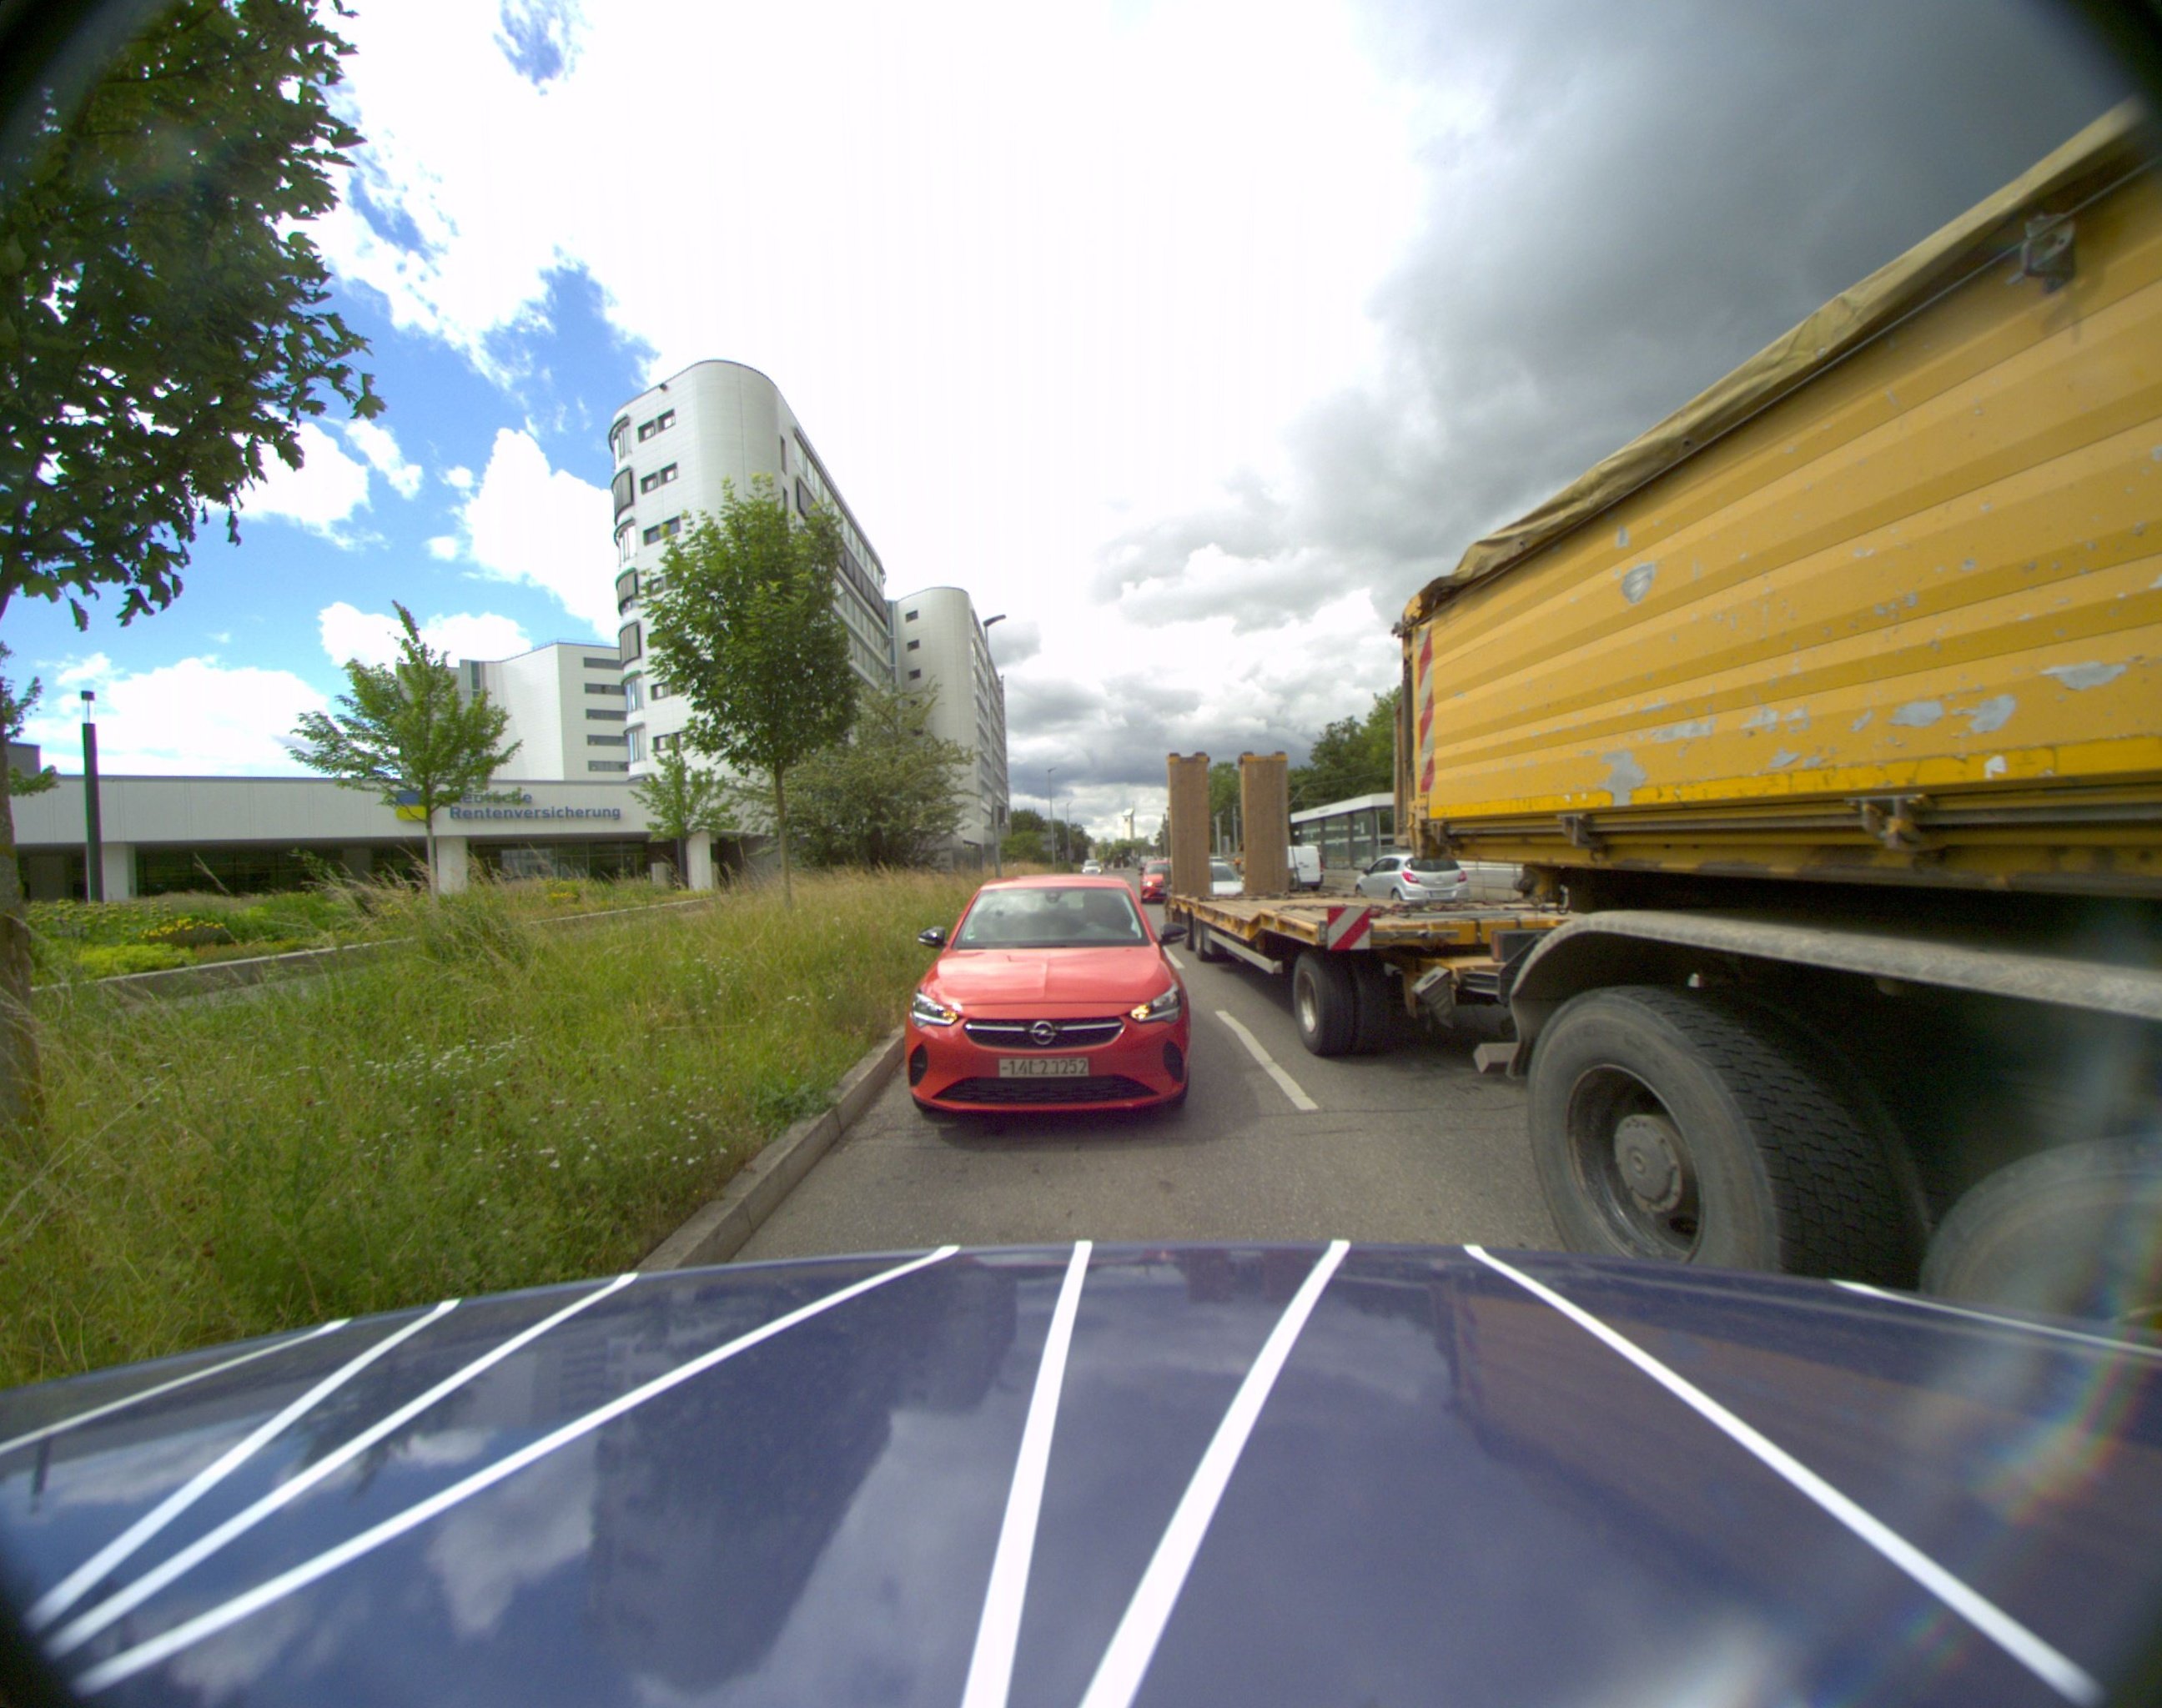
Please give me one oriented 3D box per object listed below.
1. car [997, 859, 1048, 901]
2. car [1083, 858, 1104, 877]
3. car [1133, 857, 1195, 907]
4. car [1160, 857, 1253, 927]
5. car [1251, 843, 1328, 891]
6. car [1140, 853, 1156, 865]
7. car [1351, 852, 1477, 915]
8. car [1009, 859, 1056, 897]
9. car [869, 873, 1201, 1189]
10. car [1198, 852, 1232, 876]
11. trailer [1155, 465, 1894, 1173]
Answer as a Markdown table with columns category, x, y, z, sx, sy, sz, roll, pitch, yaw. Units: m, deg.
| category | x | y | z | sx | sy | sz | roll | pitch | yaw |
| --- | --- | --- | --- | --- | --- | --- | --- | --- | --- |
| car | -2.307 | 1.000 | 30.647 | 1.738 | 1.565 | 3.445 | -2 | 0 | 0 |
| car | 1.061 | 1.125 | 66.258 | 1.738 | 1.565 | 3.445 | -2 | 0 | 0 |
| car | 2.785 | 0.911 | 26.157 | 1.692 | 1.471 | 3.999 | -2 | 1 | 1 |
| car | 3.062 | 0.870 | 19.265 | 1.692 | 1.471 | 3.999 | -2 | 1 | 1 |
| car | 8.611 | 0.512 | 31.807 | 1.887 | 1.761 | 4.864 | -2 | 0 | 1 |
| car | 8.565 | 0.596 | 97.550 | 1.770 | 1.489 | 3.554 | -2 | 0 | 1 |
| car | 8.506 | 0.702 | 19.745 | 1.705 | 1.449 | 3.566 | -2 | 0 | 1 |
| car | -2.181 | 1.075 | 35.480 | 1.850 | 1.565 | 4.623 | -2 | 0 | 0 |
| car | -0.216 | 0.985 | 6.001 | 1.692 | 1.471 | 3.999 | -2 | 1 | 1 |
| car | 8.973 | 0.645 | 51.055 | 1.644 | 1.489 | 3.554 | -2 | 0 | 1 |
| trailer | 2.796 | -0.167 | 9.321 | 2.713 | 3.501 | 10.914 | -2 | 0 | 1 |
